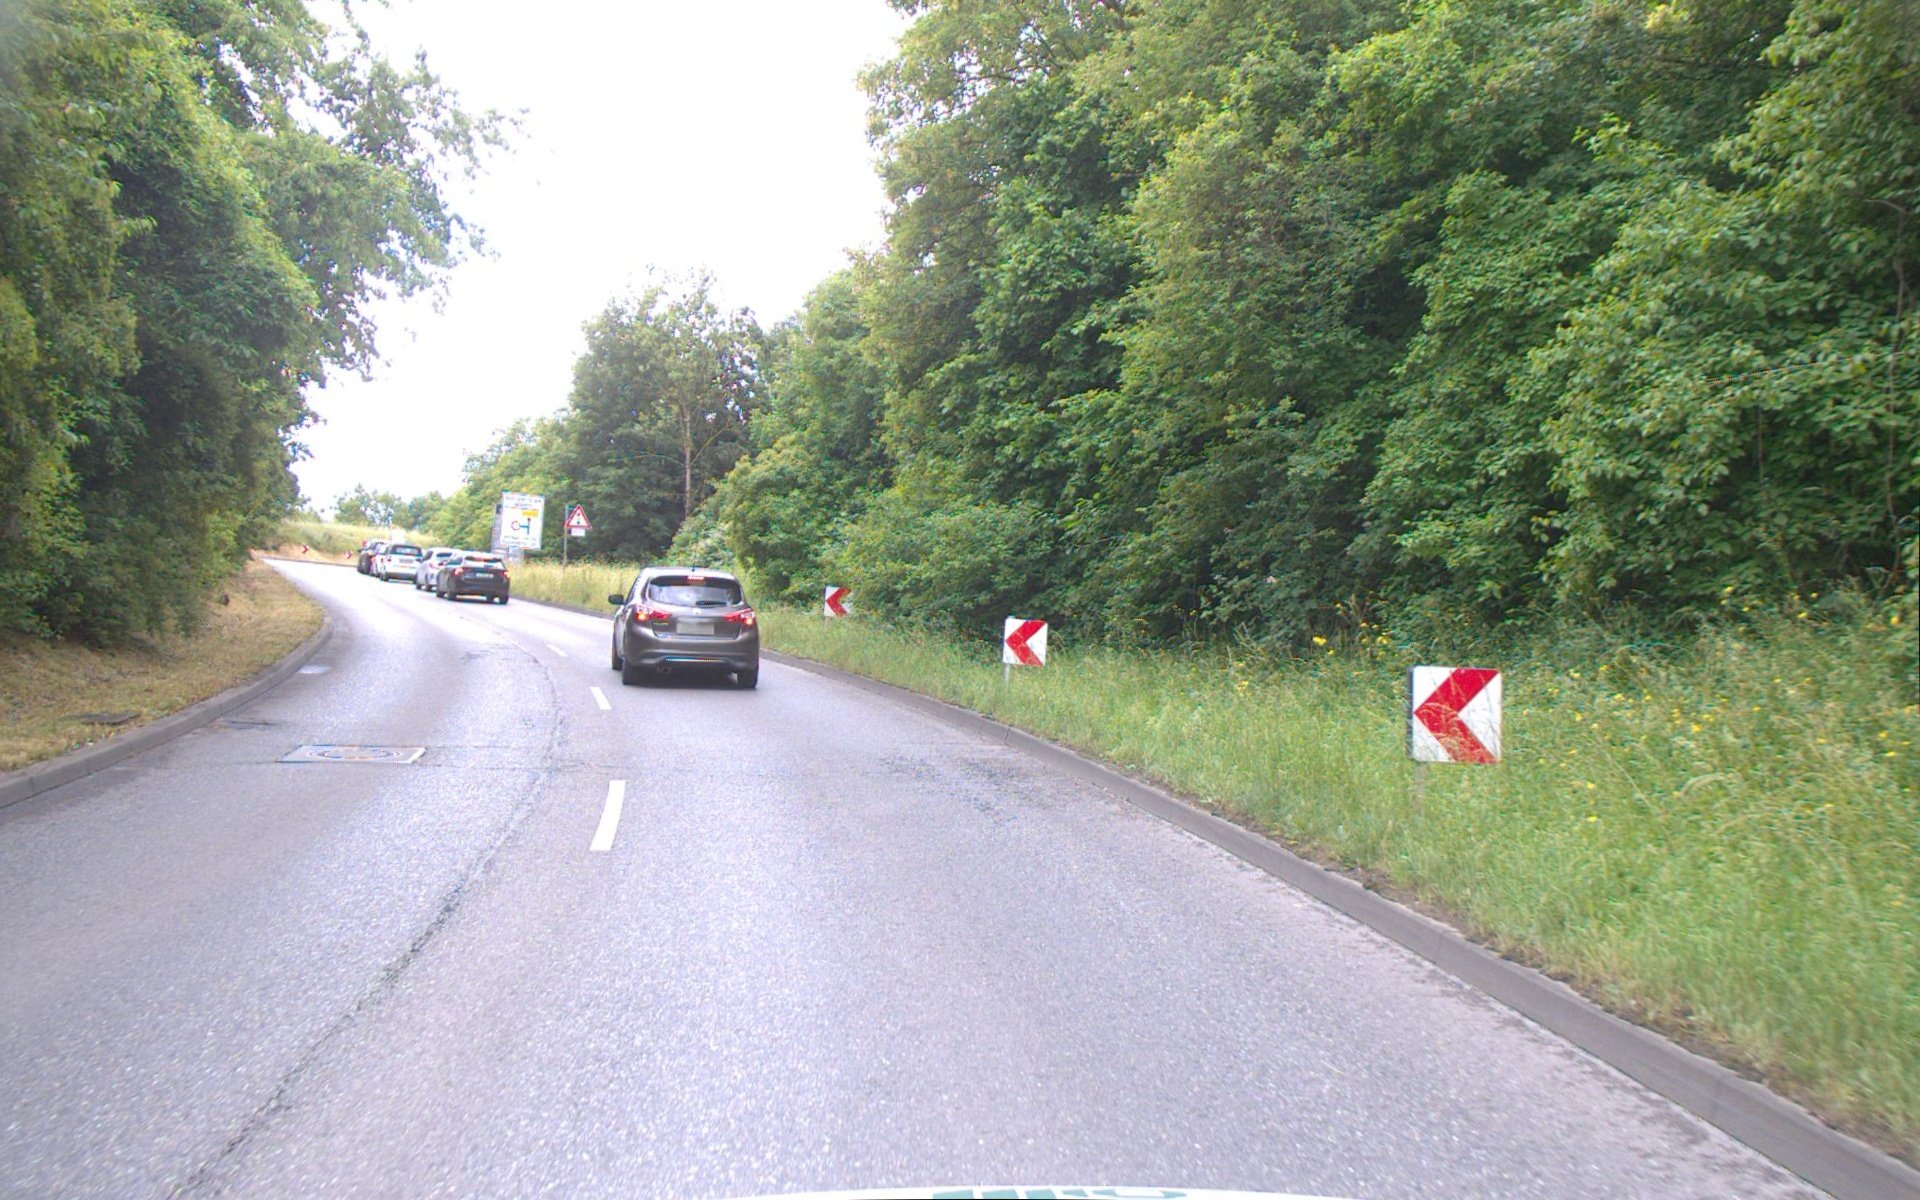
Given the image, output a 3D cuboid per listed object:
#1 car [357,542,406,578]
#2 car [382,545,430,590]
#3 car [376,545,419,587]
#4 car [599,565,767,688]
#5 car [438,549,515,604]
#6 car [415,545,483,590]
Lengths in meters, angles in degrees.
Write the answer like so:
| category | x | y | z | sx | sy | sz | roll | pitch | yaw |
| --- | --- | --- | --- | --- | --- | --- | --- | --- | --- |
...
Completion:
| category | x | y | z | sx | sy | sz | roll | pitch | yaw |
| --- | --- | --- | --- | --- | --- | --- | --- | --- | --- |
| car | -32.065 | -2.175 | 91.547 | 1.970 | 1.814 | 3.965 | 4 | -1 | -27 |
| car | -22.467 | -1.288 | 66.966 | 1.745 | 1.662 | 3.869 | 2 | -1 | -20 |
| car | -25.146 | -1.508 | 73.864 | 1.745 | 1.662 | 3.869 | 2 | -2 | -20 |
| car | -3.884 | 0.305 | 22.701 | 1.810 | 1.509 | 3.983 | 1 | 1 | -16 |
| car | -14.609 | -0.729 | 49.835 | 1.814 | 1.411 | 3.975 | 2 | 3 | -22 |
| car | -17.850 | -1.162 | 57.654 | 1.815 | 1.411 | 3.972 | 2 | 2 | -23 |
